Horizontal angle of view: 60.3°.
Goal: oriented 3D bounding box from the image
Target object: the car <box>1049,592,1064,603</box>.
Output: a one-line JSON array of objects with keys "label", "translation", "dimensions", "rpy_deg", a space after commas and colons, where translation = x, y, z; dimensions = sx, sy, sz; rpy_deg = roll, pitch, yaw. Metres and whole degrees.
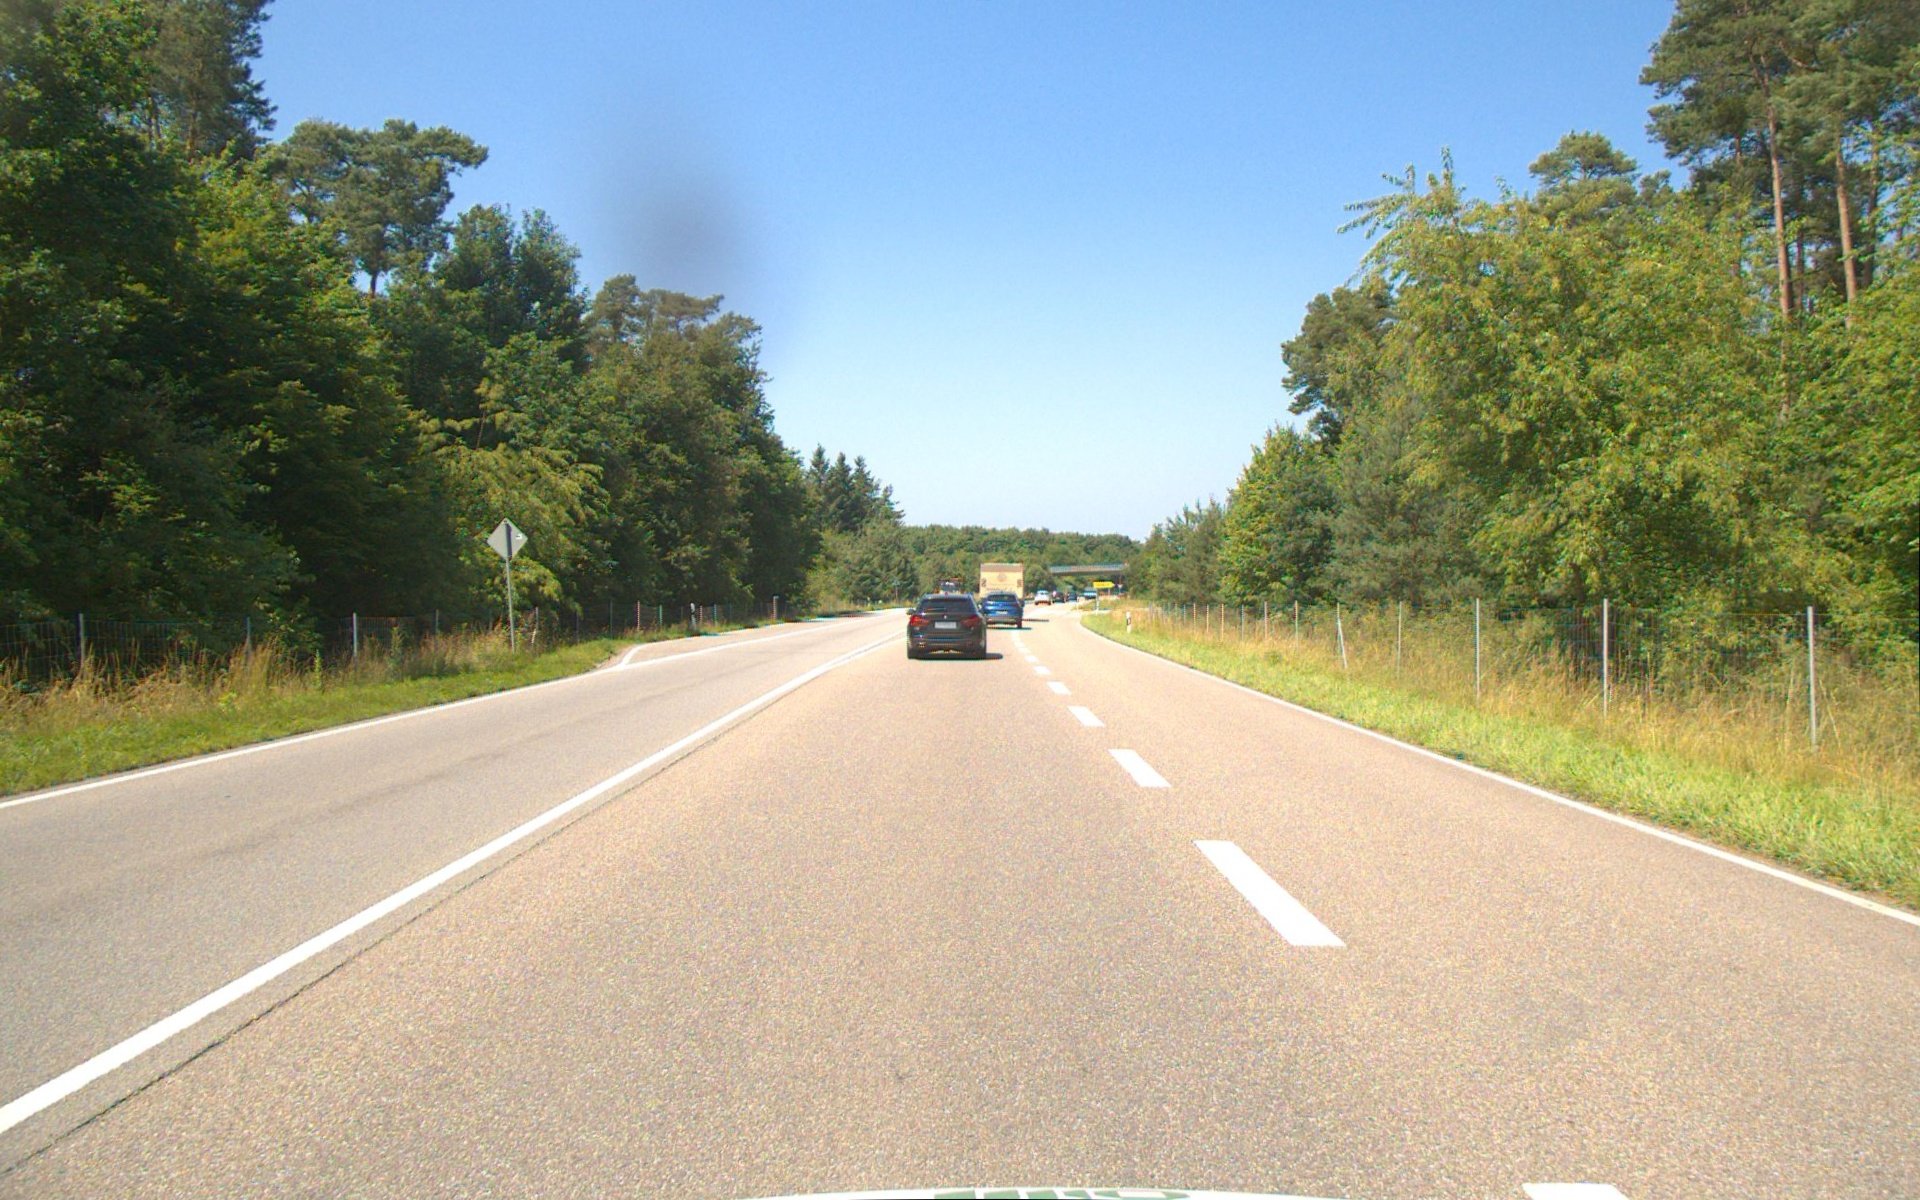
[{"label": "car", "translation": [13.415, -0.343, 230.235], "dimensions": [1.952, 1.445, 4.001], "rpy_deg": [1, 1, 2]}]

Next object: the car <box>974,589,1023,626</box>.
[{"label": "car", "translation": [1.686, 0.324, 73.775], "dimensions": [1.908, 1.568, 3.998], "rpy_deg": [-1, 0, -2]}]

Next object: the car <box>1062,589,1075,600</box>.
[{"label": "car", "translation": [16.949, -0.844, 258.553], "dimensions": [1.952, 1.665, 4.002], "rpy_deg": [-1, 0, 3]}]

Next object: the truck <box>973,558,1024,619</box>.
[{"label": "truck", "translation": [2.250, -0.706, 97.878], "dimensions": [2.904, 3.446, 6.439], "rpy_deg": [0, 1, 1]}]

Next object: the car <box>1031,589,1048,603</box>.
[{"label": "car", "translation": [9.663, -0.485, 200.326], "dimensions": [1.825, 1.633, 4.000], "rpy_deg": [0, 0, 0]}]

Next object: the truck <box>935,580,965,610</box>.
[{"label": "truck", "translation": [-0.918, -0.479, 156.067], "dimensions": [2.348, 2.770, 6.554], "rpy_deg": [0, 0, 3]}]

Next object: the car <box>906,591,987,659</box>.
[{"label": "car", "translation": [-0.372, 0.544, 39.097], "dimensions": [1.784, 1.496, 3.998], "rpy_deg": [0, 0, -2]}]
